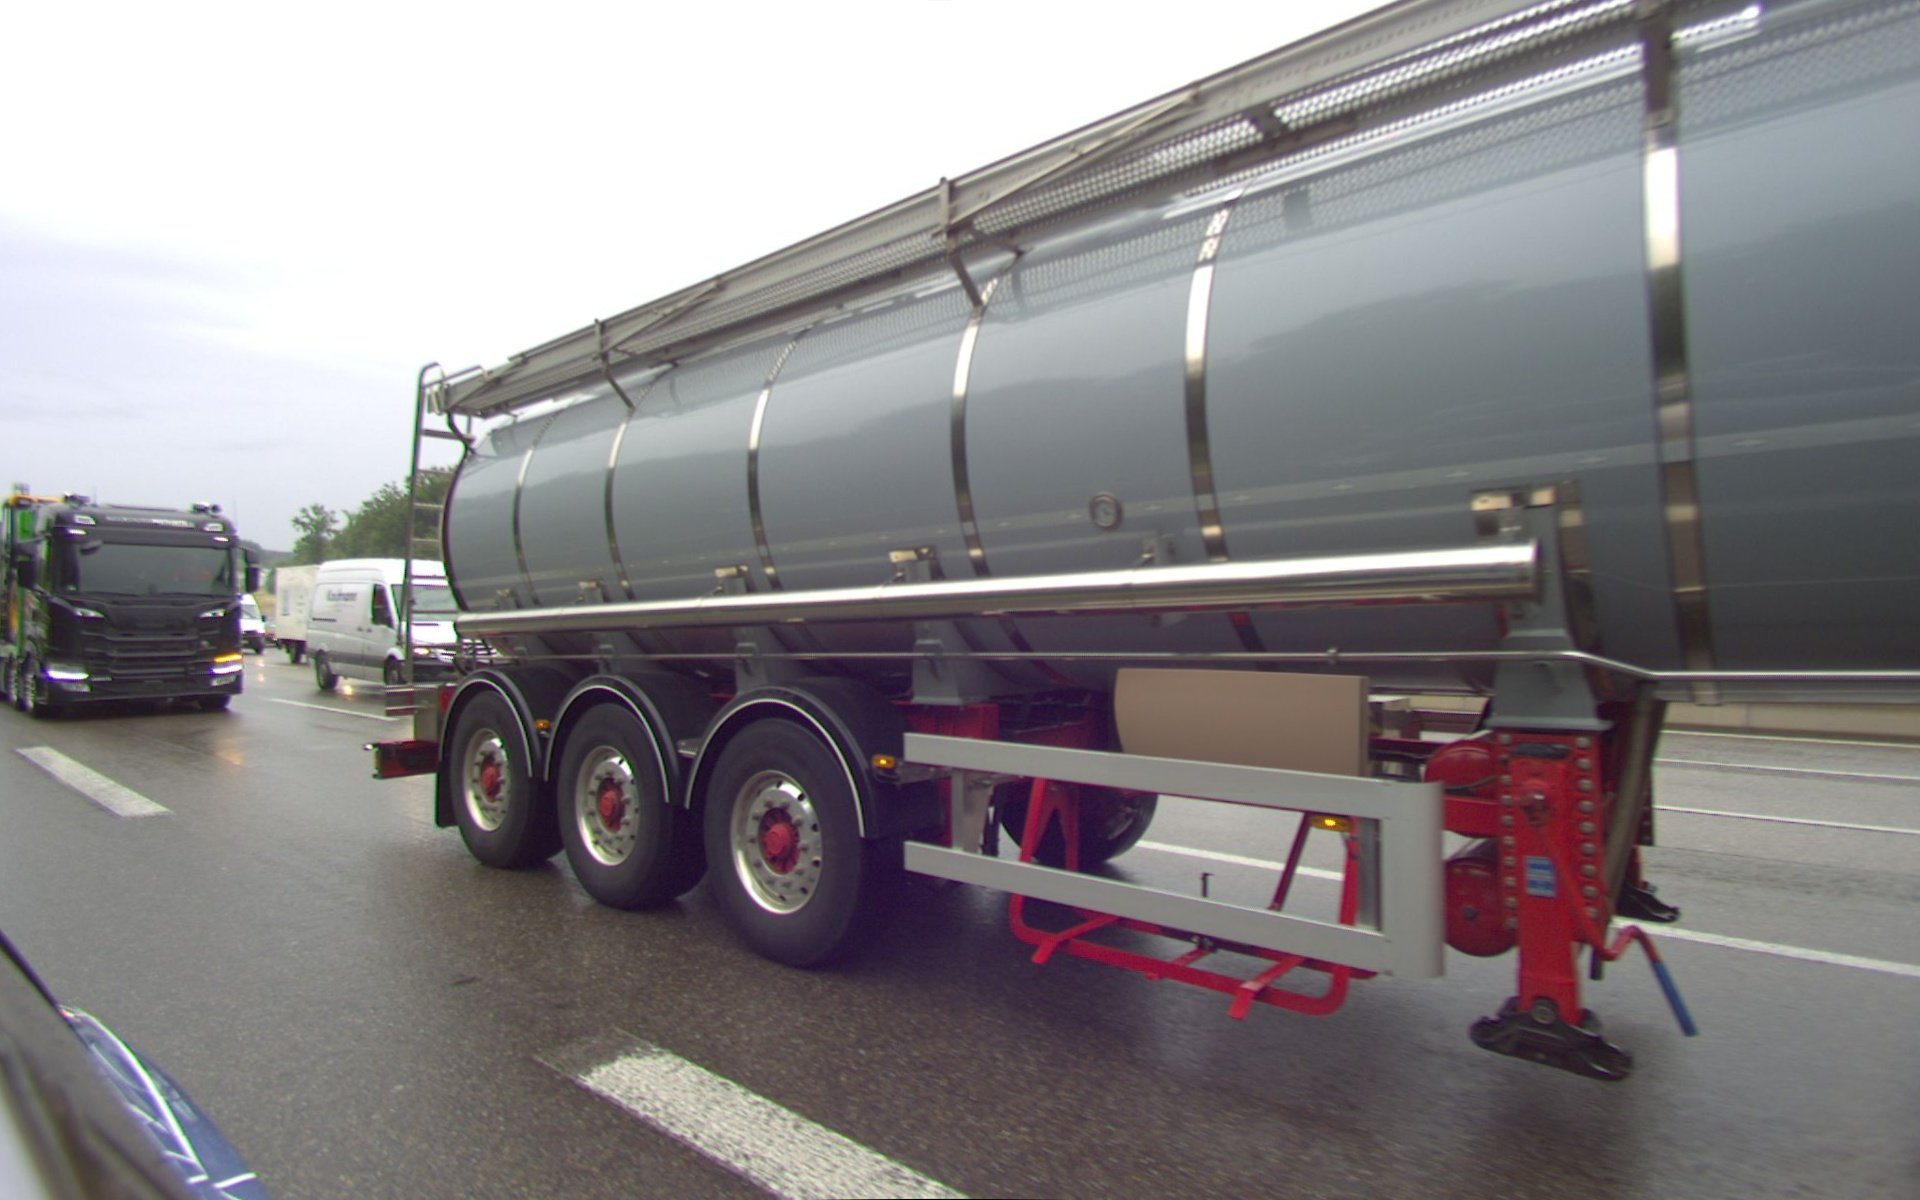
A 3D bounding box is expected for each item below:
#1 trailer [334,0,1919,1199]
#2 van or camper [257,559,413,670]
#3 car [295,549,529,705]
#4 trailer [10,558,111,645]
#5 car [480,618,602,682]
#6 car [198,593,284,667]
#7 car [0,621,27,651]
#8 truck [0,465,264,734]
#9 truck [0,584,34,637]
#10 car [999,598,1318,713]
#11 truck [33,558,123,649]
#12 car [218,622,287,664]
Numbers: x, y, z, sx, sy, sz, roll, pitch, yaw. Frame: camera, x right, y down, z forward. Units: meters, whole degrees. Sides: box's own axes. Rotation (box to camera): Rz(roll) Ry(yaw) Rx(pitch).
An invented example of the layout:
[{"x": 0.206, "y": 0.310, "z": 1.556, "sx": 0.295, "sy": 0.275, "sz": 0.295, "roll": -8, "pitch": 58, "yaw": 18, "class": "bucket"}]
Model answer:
[{"x": 0.400, "y": -0.222, "z": 4.949, "sx": 10.068, "sy": 3.314, "sz": 2.845, "roll": -1, "pitch": -1, "yaw": 40, "class": "trailer"}, {"x": -20.466, "y": 0.437, "z": 32.955, "sx": 7.131, "sy": 3.228, "sz": 2.551, "roll": 0, "pitch": -1, "yaw": 43, "class": "van or camper"}, {"x": -10.918, "y": 0.477, "z": 19.930, "sx": 5.841, "sy": 2.649, "sz": 2.192, "roll": 0, "pitch": 0, "yaw": 42, "class": "car"}, {"x": -45.499, "y": 0.136, "z": 50.983, "sx": 13.677, "sy": 3.893, "sz": 2.598, "roll": -1, "pitch": -1, "yaw": 43, "class": "trailer"}, {"x": -12.543, "y": 1.446, "z": 30.202, "sx": 3.998, "sy": 1.769, "sz": 1.755, "roll": -1, "pitch": -2, "yaw": 41, "class": "car"}, {"x": -30.326, "y": 1.184, "z": 42.669, "sx": 3.998, "sy": 2.855, "sz": 1.973, "roll": 1, "pitch": 4, "yaw": 41, "class": "car"}, {"x": -64.470, "y": 2.439, "z": 68.413, "sx": 4.001, "sy": 1.785, "sz": 1.739, "roll": 1, "pitch": 4, "yaw": 43, "class": "car"}, {"x": -16.110, "y": 0.067, "z": 18.648, "sx": 11.795, "sy": 3.616, "sz": 2.800, "roll": -1, "pitch": -1, "yaw": 42, "class": "truck"}, {"x": -81.069, "y": 0.800, "z": 85.803, "sx": 3.308, "sy": 4.100, "sz": 12.583, "roll": -4, "pitch": 4, "yaw": -44, "class": "truck"}, {"x": 3.255, "y": 0.882, "z": 17.358, "sx": 5.079, "sy": 1.696, "sz": 1.973, "roll": -1, "pitch": -2, "yaw": 41, "class": "car"}, {"x": -39.801, "y": 0.170, "z": 45.630, "sx": 4.589, "sy": 3.893, "sz": 2.598, "roll": -1, "pitch": -1, "yaw": 43, "class": "truck"}, {"x": -36.601, "y": 2.186, "z": 52.357, "sx": 4.214, "sy": 2.029, "sz": 1.973, "roll": -1, "pitch": -1, "yaw": 41, "class": "car"}]
